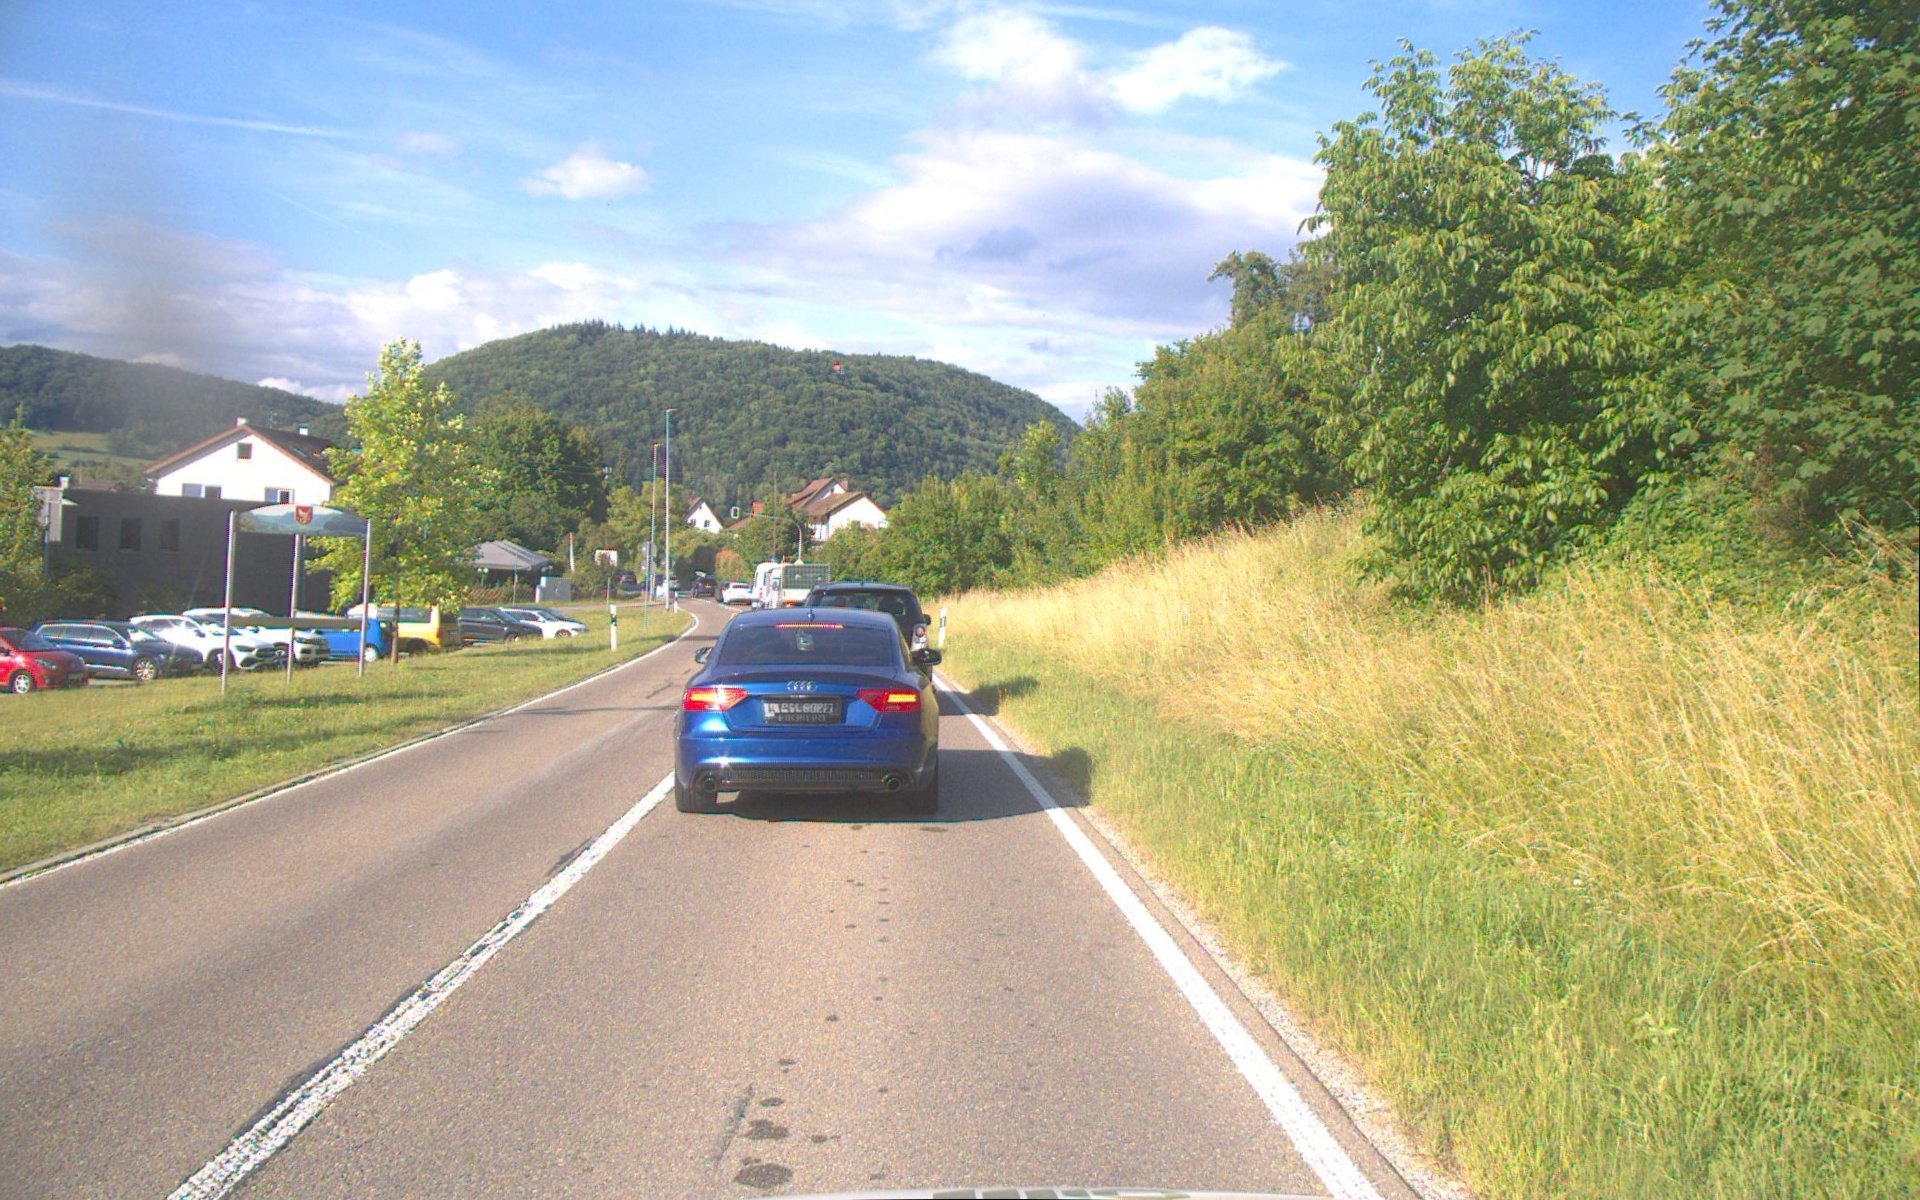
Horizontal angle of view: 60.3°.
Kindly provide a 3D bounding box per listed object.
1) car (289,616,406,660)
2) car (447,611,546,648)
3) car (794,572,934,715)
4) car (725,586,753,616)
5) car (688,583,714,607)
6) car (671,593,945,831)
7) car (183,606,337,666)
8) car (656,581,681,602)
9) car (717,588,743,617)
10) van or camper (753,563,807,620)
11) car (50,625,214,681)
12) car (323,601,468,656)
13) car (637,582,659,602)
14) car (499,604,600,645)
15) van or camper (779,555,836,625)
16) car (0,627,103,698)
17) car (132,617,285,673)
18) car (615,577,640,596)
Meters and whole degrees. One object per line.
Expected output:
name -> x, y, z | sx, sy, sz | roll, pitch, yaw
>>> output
car -> -20.651, 1.278, 55.824 | 3.300, 1.397, 1.660 | -1, 0, -1
car -> -19.156, 1.217, 68.430 | 3.633, 1.464, 1.510 | -1, 0, 7
car -> -1.213, 0.515, 21.355 | 1.613, 1.653, 3.515 | 2, 0, -3
car -> -14.700, 0.070, 109.924 | 1.629, 1.958, 3.990 | 0, 0, -10
car -> -21.757, -0.405, 139.018 | 1.650, 1.958, 3.982 | 0, 0, -16
car -> -1.019, 0.696, 12.113 | 1.707, 1.476, 3.515 | 0, 0, -2
car -> -21.053, 1.084, 49.814 | 3.990, 1.702, 1.598 | -1, 0, 7
car -> -27.698, -0.780, 157.111 | 1.652, 1.958, 3.977 | 0, 0, -19
car -> -16.363, 0.180, 117.445 | 1.630, 1.958, 3.989 | 0, 0, -11
van or camper -> -9.065, -0.408, 82.997 | 2.240, 2.761, 5.752 | 0, 0, -11
car -> -21.668, 1.374, 43.348 | 3.547, 1.430, 1.598 | 0, 0, 7
car -> -19.927, 1.010, 58.433 | 4.456, 1.846, 1.842 | -1, 0, 7
car -> -31.438, -0.820, 166.609 | 1.652, 1.958, 3.977 | 0, 0, -19
car -> -18.056, 1.073, 72.884 | 3.949, 1.689, 1.657 | -1, 0, 7
van or camper -> -5.922, -0.375, 63.772 | 2.013, 2.549, 5.802 | 0, 0, -7
car -> -22.036, 1.413, 38.326 | 3.547, 1.469, 1.650 | 1, 1, 7
car -> -21.108, 1.252, 46.504 | 3.588, 1.520, 1.598 | 0, 0, 7
car -> -36.431, -1.456, 181.171 | 1.927, 1.958, 3.974 | -1, 0, -21
